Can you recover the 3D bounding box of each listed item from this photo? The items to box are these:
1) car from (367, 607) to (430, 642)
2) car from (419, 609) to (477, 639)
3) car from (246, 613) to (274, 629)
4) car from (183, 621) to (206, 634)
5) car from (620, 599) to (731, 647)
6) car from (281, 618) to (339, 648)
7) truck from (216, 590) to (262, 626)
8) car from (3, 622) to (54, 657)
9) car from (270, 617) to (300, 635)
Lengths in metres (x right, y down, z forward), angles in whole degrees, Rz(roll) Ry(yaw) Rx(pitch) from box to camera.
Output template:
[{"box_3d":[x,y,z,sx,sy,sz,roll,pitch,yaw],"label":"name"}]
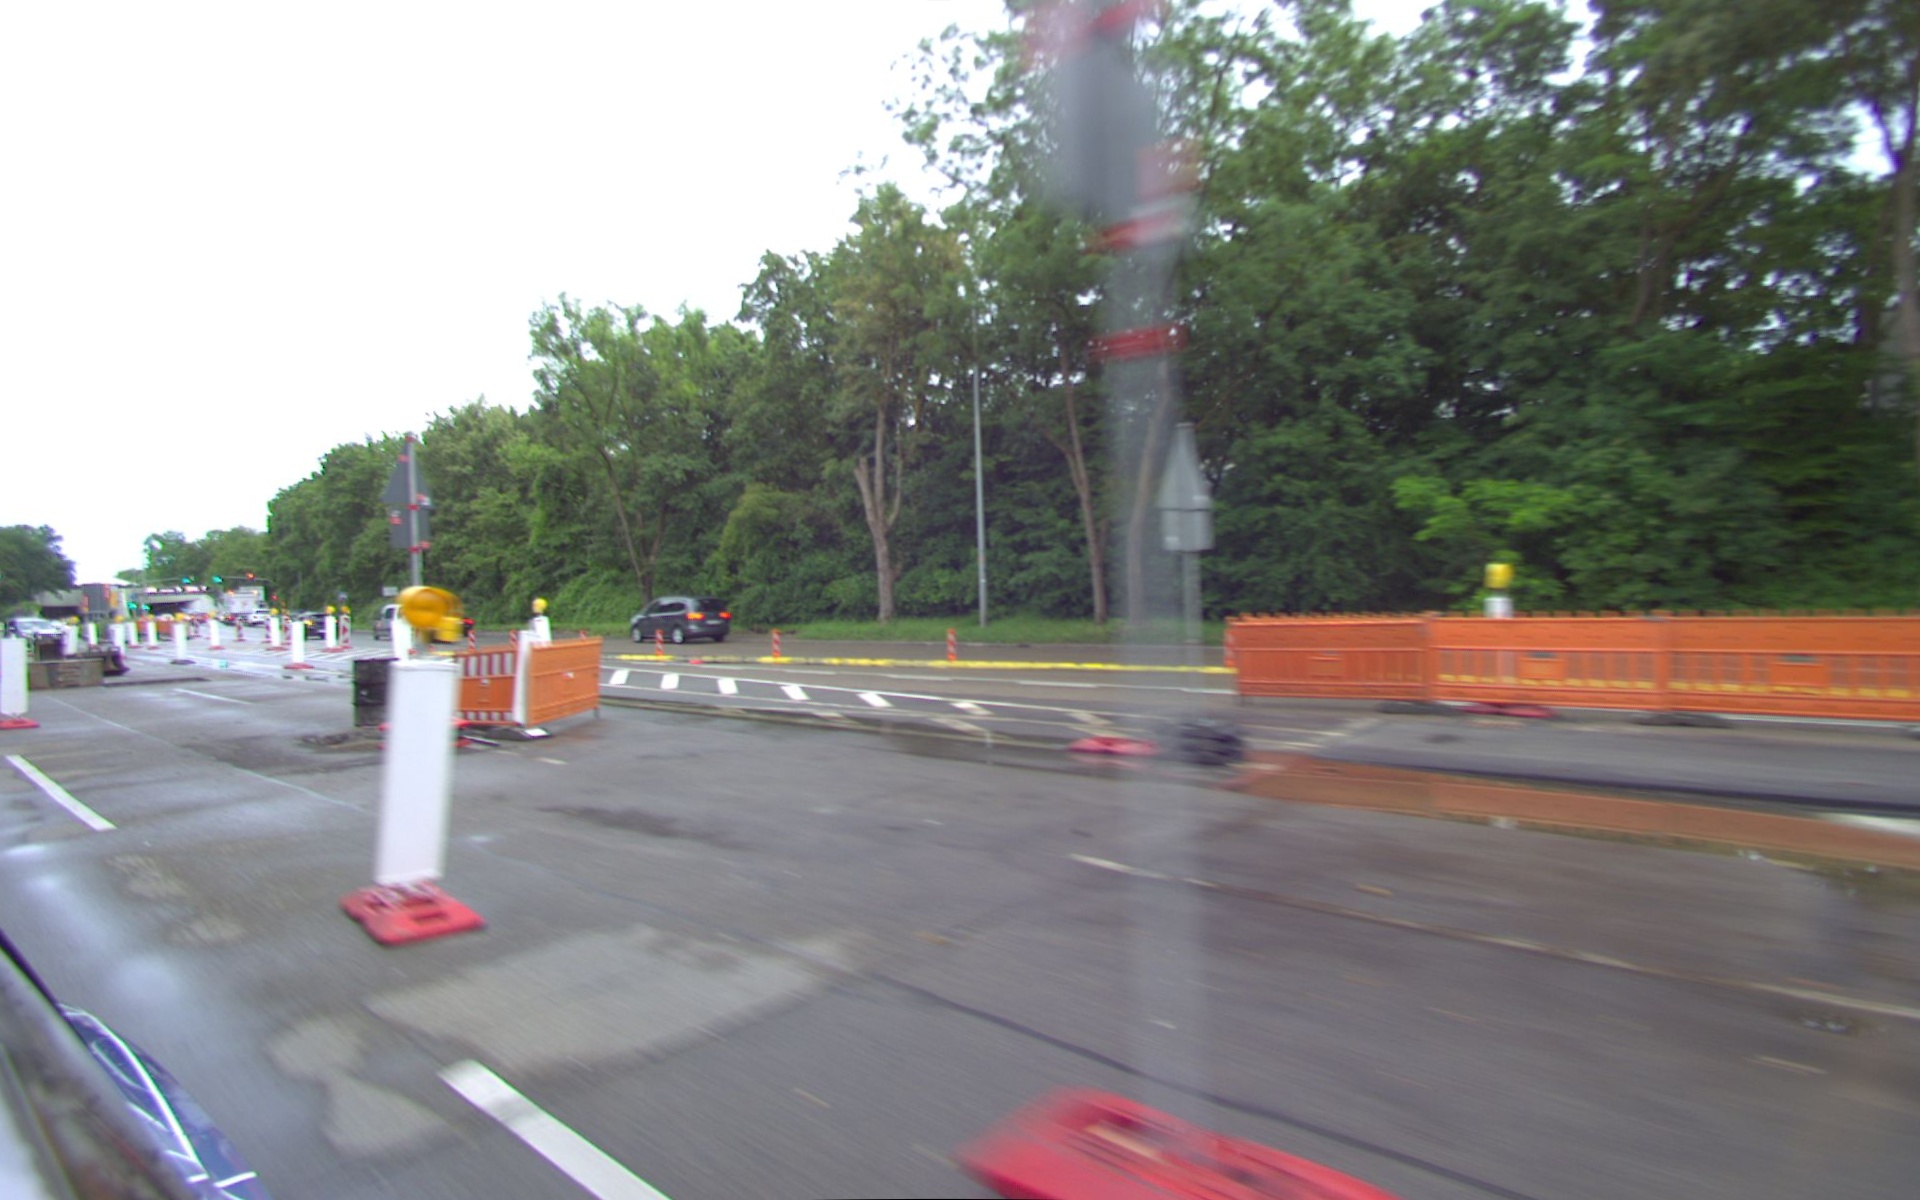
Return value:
[{"box_3d":[-27.214,1.185,49.001,3.770,1.626,1.656,-2,-2,43],"label":"car"},{"box_3d":[-27.022,1.281,53.405,3.608,1.495,1.603,-2,-2,43],"label":"car"},{"box_3d":[-69.501,2.124,100.453,1.880,1.507,3.774,0,-2,-41],"label":"car"},{"box_3d":[-93.590,3.364,123.692,1.838,1.507,4.182,0,-2,-42],"label":"car"},{"box_3d":[-10.426,0.847,36.908,4.766,1.626,1.656,-2,-2,43],"label":"car"},{"box_3d":[-34.801,1.751,54.141,3.769,1.507,1.720,-2,-2,42],"label":"car"},{"box_3d":[-80.186,0.943,112.471,3.105,3.860,9.657,-1,-1,-42],"label":"truck"},{"box_3d":[-46.962,1.969,50.989,1.769,1.596,3.864,-3,1,-44],"label":"car"},{"box_3d":[-57.080,2.217,85.528,1.654,1.507,3.774,0,-2,-41],"label":"car"}]
